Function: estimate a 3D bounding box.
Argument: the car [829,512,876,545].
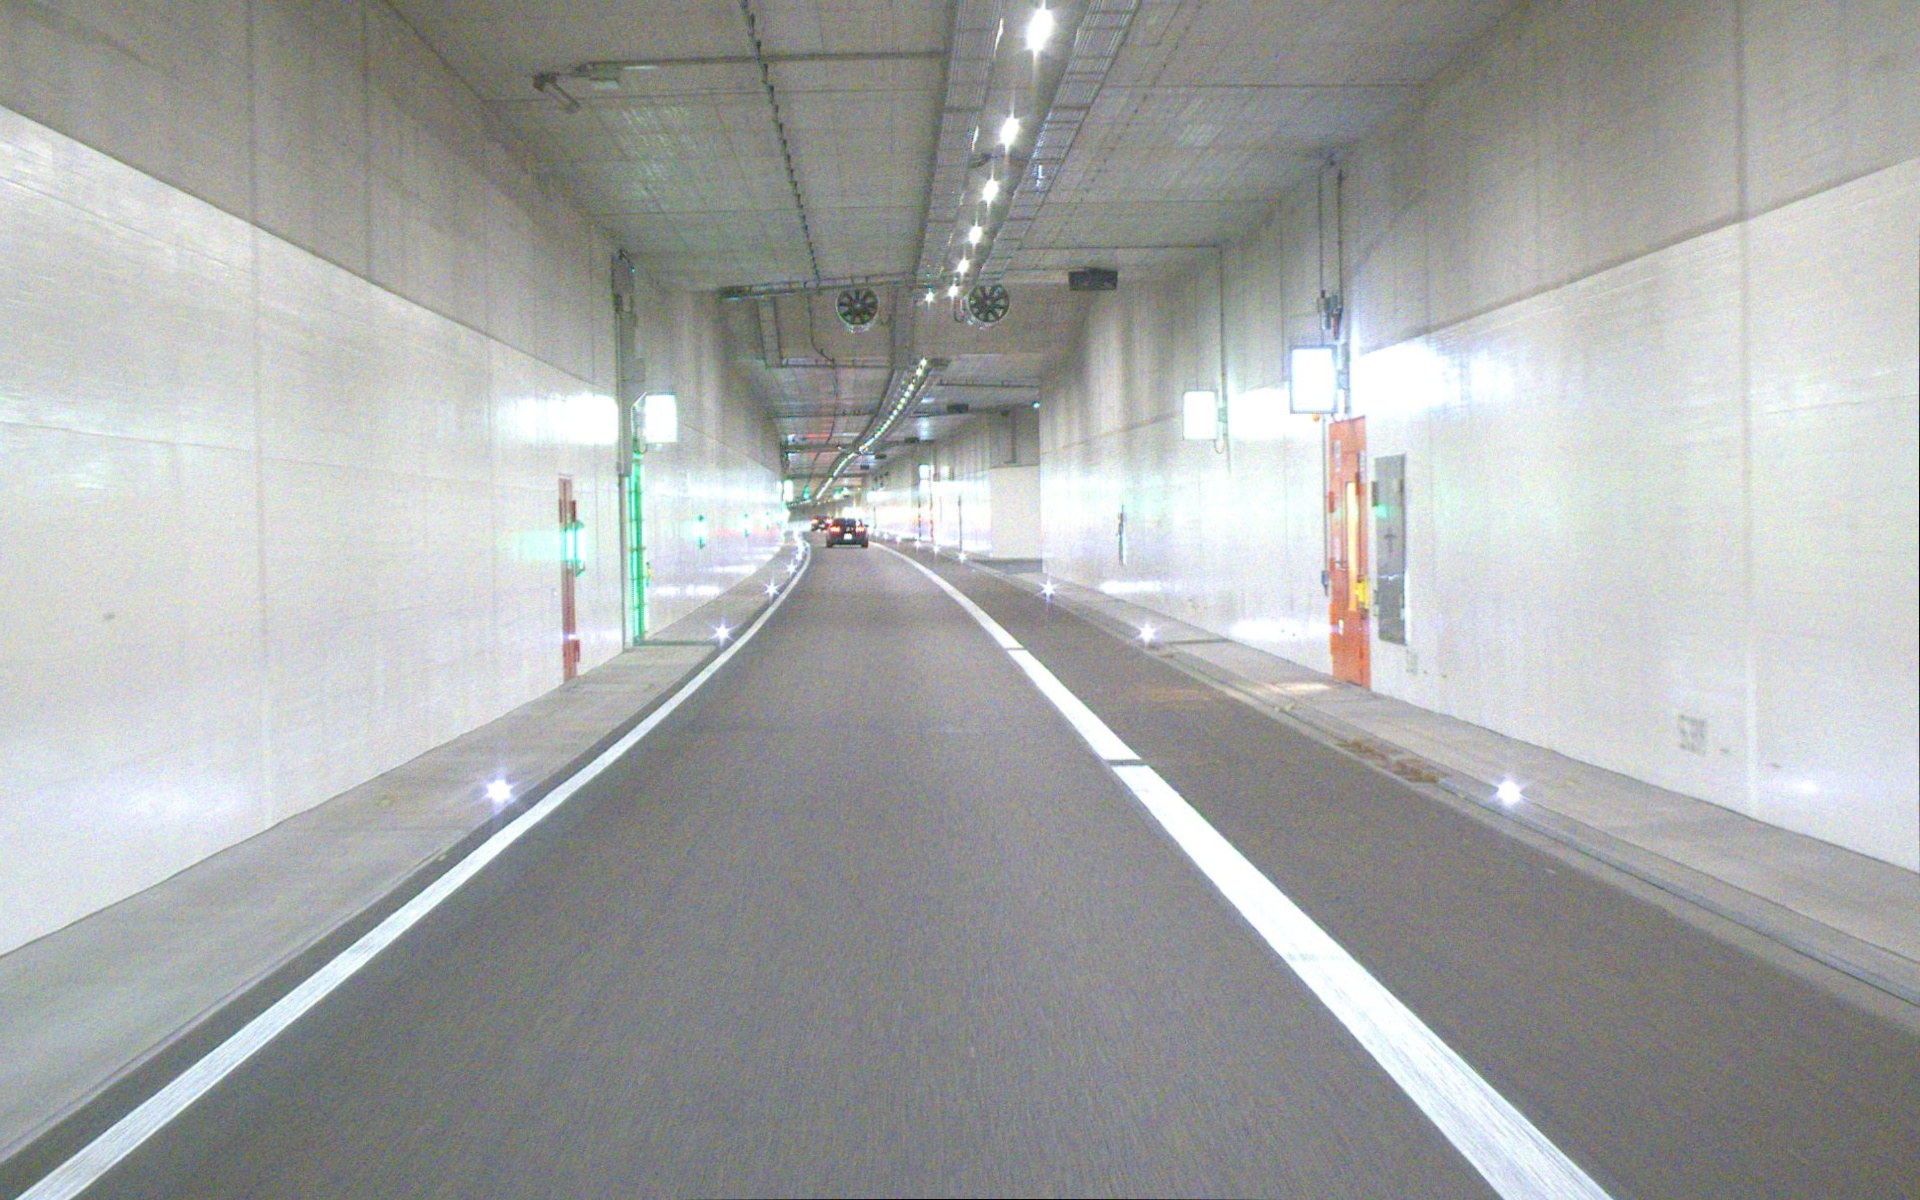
[{"bbox_3d":[-4.901,-3.253,156.490,1.993,1.415,4.001,-2,2,-3],"label":"car"}]
